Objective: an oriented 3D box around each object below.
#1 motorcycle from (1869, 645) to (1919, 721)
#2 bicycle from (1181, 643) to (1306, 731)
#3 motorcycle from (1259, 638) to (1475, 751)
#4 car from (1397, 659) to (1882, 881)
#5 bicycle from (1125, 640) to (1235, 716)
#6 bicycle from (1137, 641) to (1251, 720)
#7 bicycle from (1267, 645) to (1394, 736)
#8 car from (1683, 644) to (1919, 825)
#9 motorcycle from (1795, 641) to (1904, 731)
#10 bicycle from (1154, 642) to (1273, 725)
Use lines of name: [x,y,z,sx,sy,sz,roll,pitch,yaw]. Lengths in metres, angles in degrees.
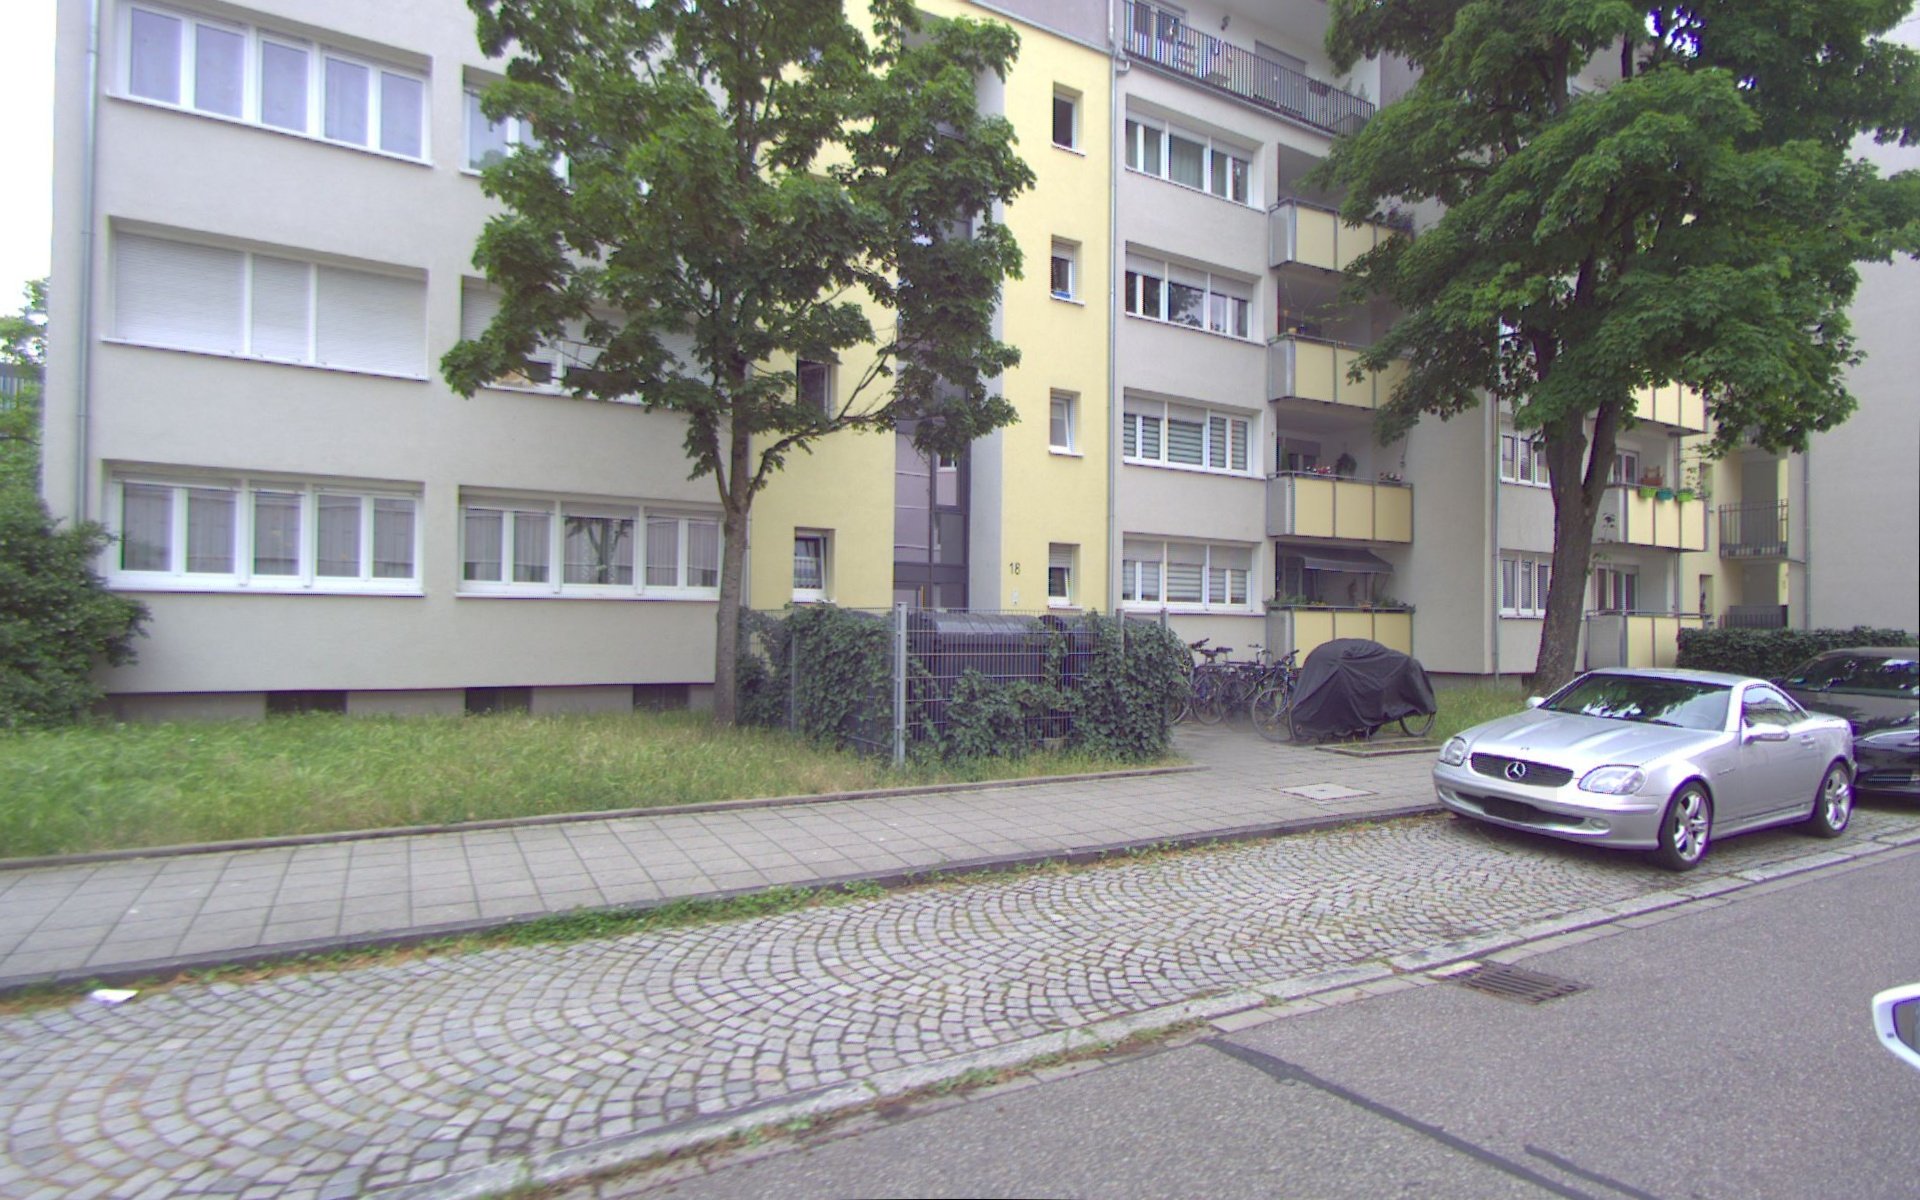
motorcycle: [16.989,1.453,17.864,1.812,1.247,0.633,1,2,-30]
bicycle: [3.829,1.144,13.529,1.753,1.115,0.549,2,-1,-29]
motorcycle: [5.023,1.103,12.285,3.028,1.239,0.678,1,0,-28]
car: [5.567,1.187,8.145,3.967,1.275,1.688,1,0,-30]
bicycle: [3.452,1.201,15.727,1.753,1.115,0.549,2,-1,-29]
bicycle: [3.525,1.189,15.086,1.753,1.115,0.549,2,-1,-29]
bicycle: [4.816,1.145,13.025,1.753,1.115,0.549,2,-1,-29]
car: [9.742,1.233,10.483,4.574,1.440,1.833,1,0,-30]
motorcycle: [14.748,1.394,16.636,2.203,1.374,0.674,1,1,-30]
bicycle: [3.659,1.177,14.451,1.753,1.115,0.549,2,-1,-29]
